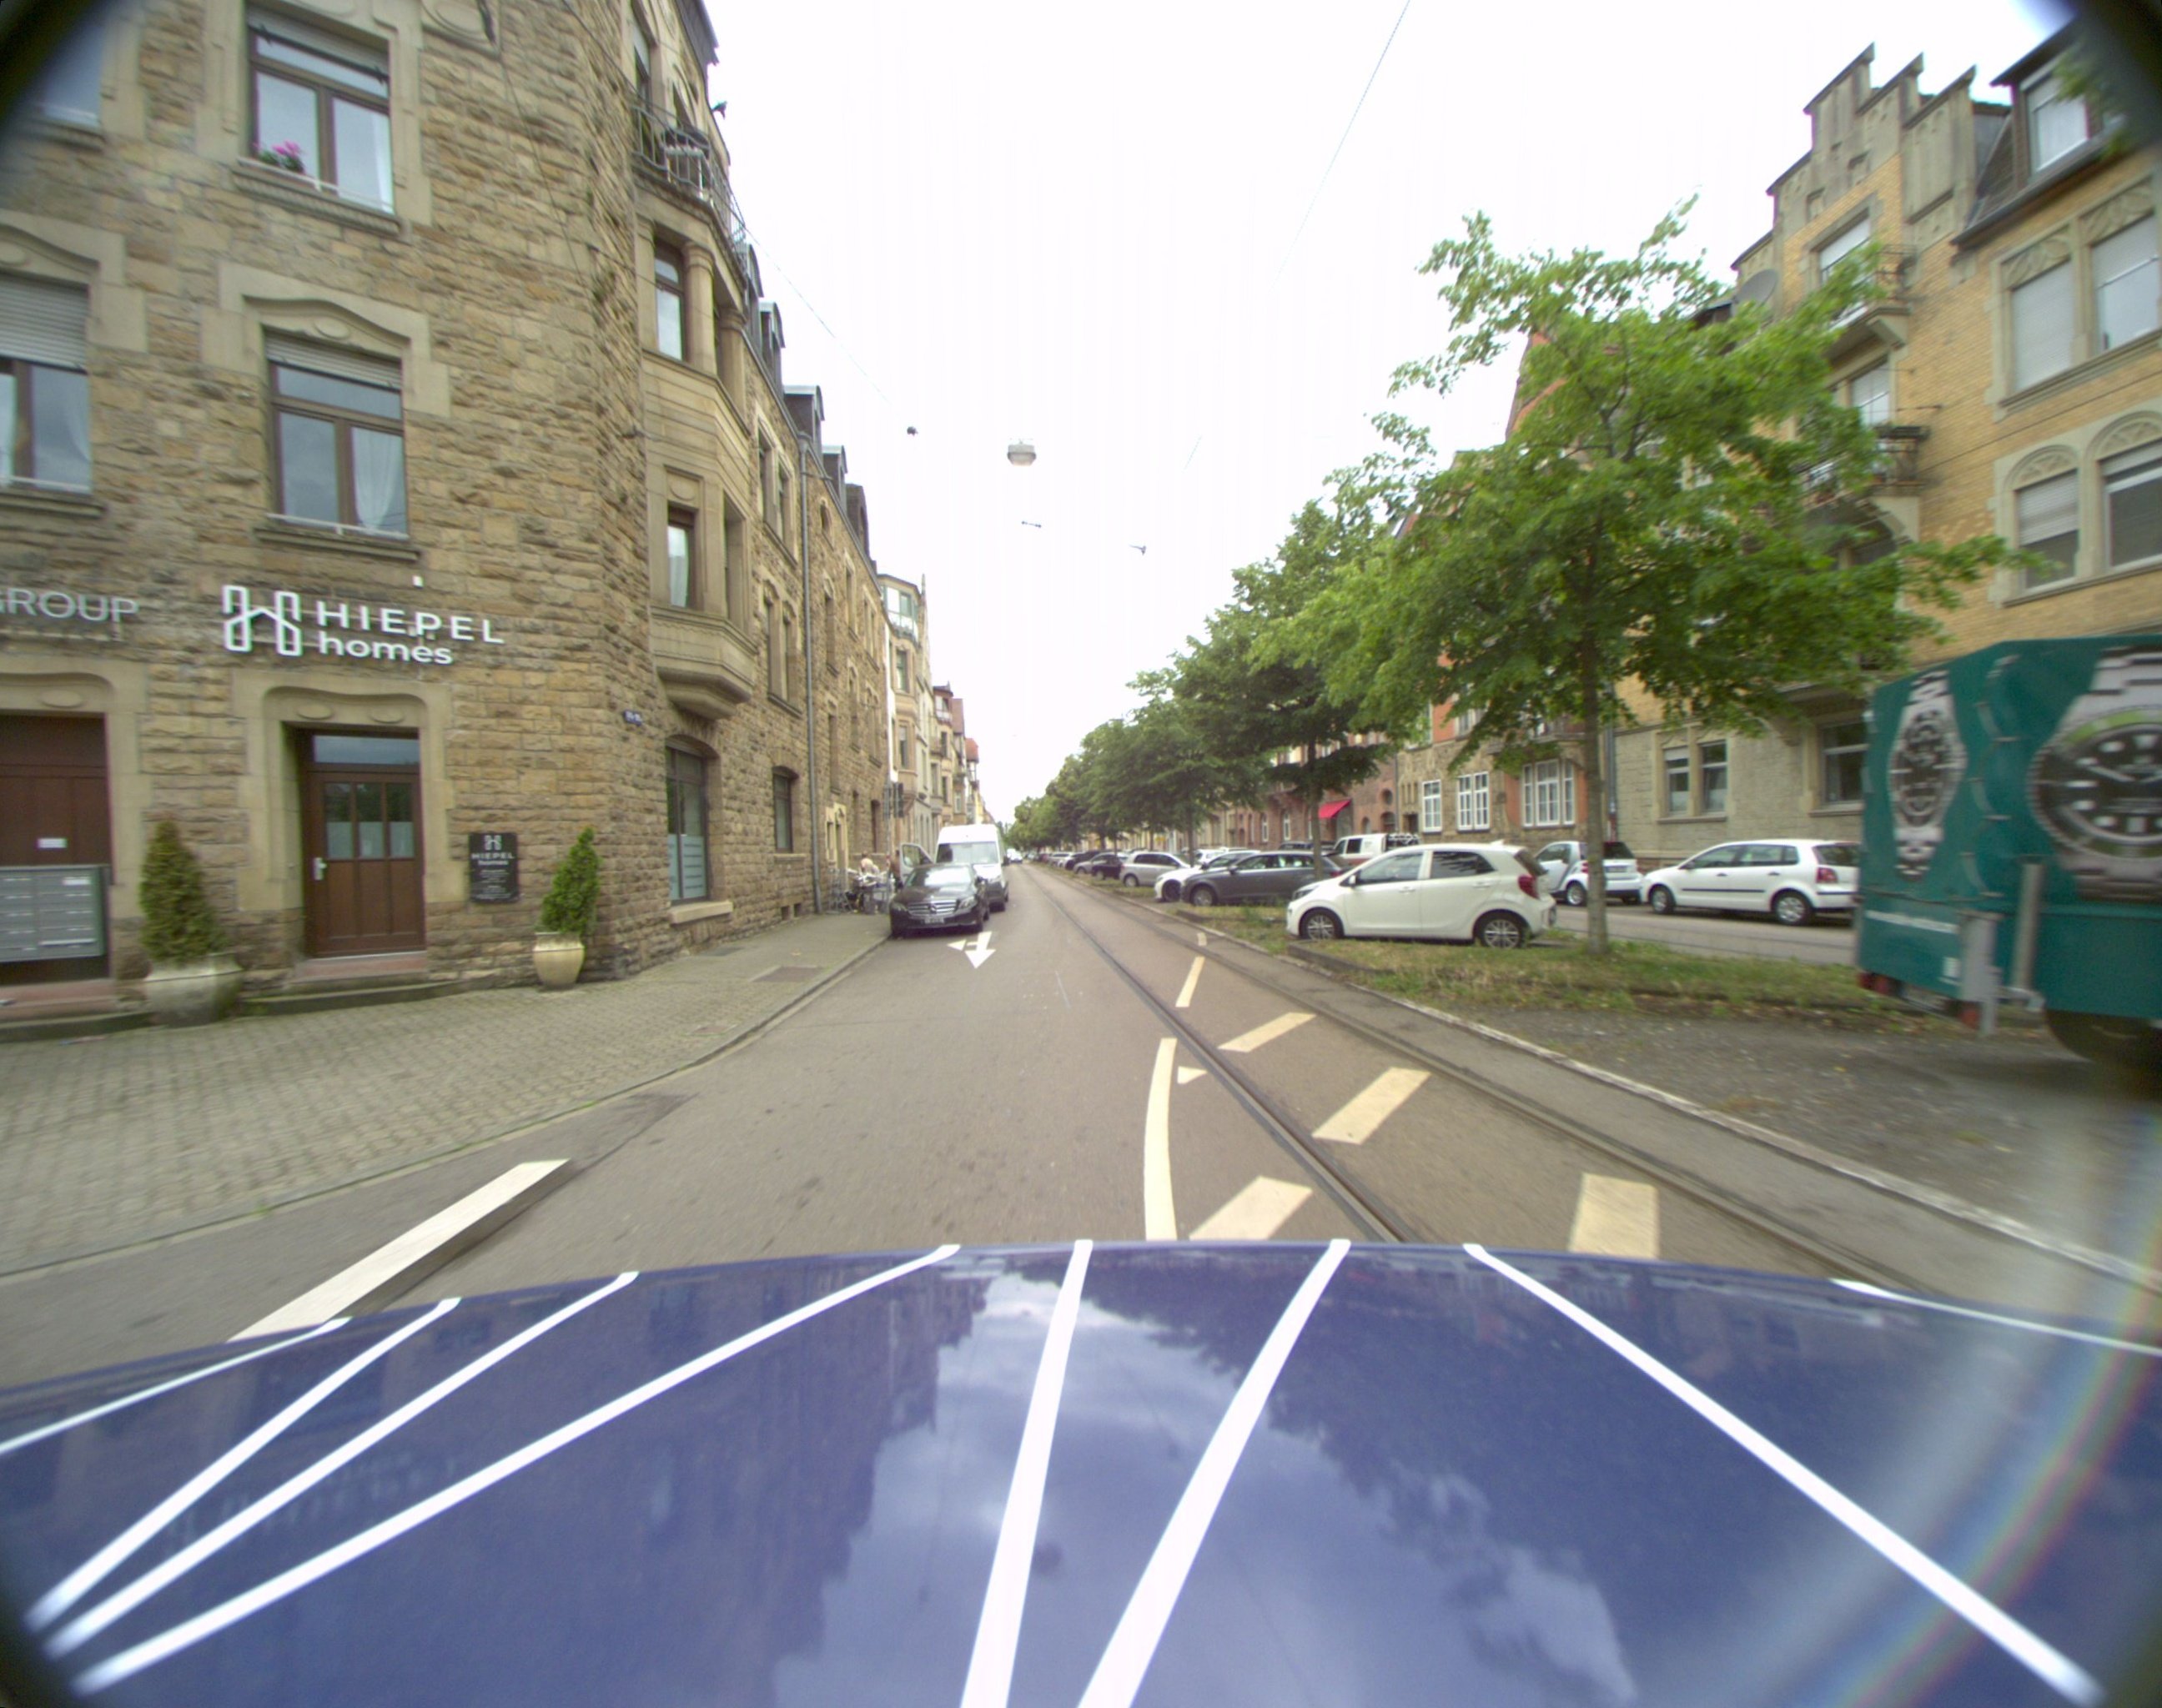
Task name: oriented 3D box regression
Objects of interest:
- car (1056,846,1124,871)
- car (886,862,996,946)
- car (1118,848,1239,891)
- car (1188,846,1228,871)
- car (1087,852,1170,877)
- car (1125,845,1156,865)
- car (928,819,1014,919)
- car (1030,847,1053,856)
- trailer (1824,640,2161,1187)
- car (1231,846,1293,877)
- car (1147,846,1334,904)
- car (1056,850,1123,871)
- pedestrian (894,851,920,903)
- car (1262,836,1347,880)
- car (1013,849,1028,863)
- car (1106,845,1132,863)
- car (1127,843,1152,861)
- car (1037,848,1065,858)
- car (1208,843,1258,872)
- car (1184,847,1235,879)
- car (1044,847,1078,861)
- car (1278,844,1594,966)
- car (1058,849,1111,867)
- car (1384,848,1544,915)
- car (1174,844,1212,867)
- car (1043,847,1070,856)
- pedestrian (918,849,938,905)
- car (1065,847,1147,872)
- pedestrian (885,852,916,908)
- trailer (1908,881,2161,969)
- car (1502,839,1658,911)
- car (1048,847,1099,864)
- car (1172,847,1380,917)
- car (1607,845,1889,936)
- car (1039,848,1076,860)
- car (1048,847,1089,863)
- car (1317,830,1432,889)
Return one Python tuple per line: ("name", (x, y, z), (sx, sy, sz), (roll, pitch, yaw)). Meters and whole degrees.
("car", (0.595, 0.315, 52.183), (4.520, 1.624, 1.768), (-1, 2, 39))
("car", (-2.994, 0.990, 17.250), (1.829, 1.442, 5.004), (-3, 1, -4))
("car", (3.648, 0.584, 28.616), (4.106, 1.475, 1.800), (-1, 1, 35))
("car", (8.571, 0.261, 51.461), (1.667, 1.551, 3.720), (-2, 1, -6))
("car", (2.403, 0.564, 39.063), (3.952, 1.195, 1.671), (-1, 1, 38))
("car", (4.708, 0.024, 60.538), (1.649, 1.495, 4.618), (-2, 1, -6))
("car", (-3.227, 0.372, 23.643), (2.019, 2.534, 7.012), (-3, 1, -4))
("car", (-7.635, -0.446, 147.912), (3.990, 1.602, 1.901), (-1, -1, 25))
("trailer", (6.236, 0.215, 3.463), (3.662, 2.331, 1.934), (-1, 1, 28))
("car", (9.558, 0.349, 40.506), (1.745, 1.533, 4.550), (-2, 1, -6))
("car", (4.381, 0.571, 21.146), (4.675, 1.426, 1.902), (-1, 1, 34))
("car", (0.600, 0.483, 55.869), (4.529, 1.482, 2.040), (-1, 2, 39))
("pedestrian", (-5.816, 0.758, 25.351), (0.706, 1.690, 0.491), (0, 1, -33))
("car", (9.938, 0.139, 34.269), (1.819, 1.771, 5.114), (-2, 1, -6))
("car", (-9.184, 0.320, 115.050), (1.999, 2.002, 3.997), (-2, 1, -6))
("car", (3.589, -0.012, 73.219), (1.810, 1.570, 4.543), (-2, 1, -6))
("car", (6.155, -0.221, 80.128), (1.856, 1.860, 4.429), (-2, 1, -5))
("car", (-4.608, -0.115, 116.490), (3.989, 1.407, 1.902), (-1, -1, 33))
("car", (9.274, 0.177, 46.682), (1.745, 1.617, 4.550), (-2, 1, -6))
("car", (6.671, 0.444, 39.867), (1.649, 1.495, 3.880), (-2, 1, -6))
("car", (-2.405, -0.006, 91.299), (3.803, 1.518, 1.678), (-3, 1, 40))
("car", (5.030, 0.641, 10.979), (3.852, 1.454, 1.693), (-1, 1, 37))
("car", (0.257, 0.314, 63.514), (4.118, 1.304, 1.867), (-2, 1, 38))
("car", (9.197, 0.587, 18.610), (1.649, 1.375, 3.880), (-2, 1, -6))
("car", (8.226, 0.073, 56.119), (1.774, 1.619, 4.317), (-2, 1, -6))
("car", (-4.135, -0.390, 128.115), (3.992, 1.407, 1.900), (-1, -1, 15))
("pedestrian", (-4.969, 0.732, 24.681), (0.500, 1.804, 0.802), (1, 1, -4))
("car", (1.445, 0.365, 45.310), (4.655, 1.360, 1.761), (-1, 1, 37))
("pedestrian", (-5.572, 0.790, 23.418), (0.866, 1.690, 0.537), (0, 1, -19))
("trailer", (12.810, 0.849, 9.497), (1.459, 0.887, 3.074), (0, 1, -7))
("car", (11.971, 0.460, 18.448), (1.640, 1.541, 2.949), (-2, 1, -7))
("car", (-0.718, 0.159, 70.579), (4.552, 1.485, 1.867), (-1, 2, 41))
("car", (4.545, 0.622, 17.974), (4.328, 1.426, 1.902), (-1, 1, 37))
("car", (12.341, 0.575, 14.440), (1.640, 1.434, 3.920), (-2, 1, -7))
("car", (-3.063, 0.011, 98.900), (4.595, 1.458, 1.889), (-1, 1, 40))
("car", (-1.363, 0.154, 81.097), (4.195, 1.600, 1.728), (0, 2, 36))
("car", (10.814, 0.155, 28.440), (1.887, 1.941, 5.090), (-2, 1, -6))
